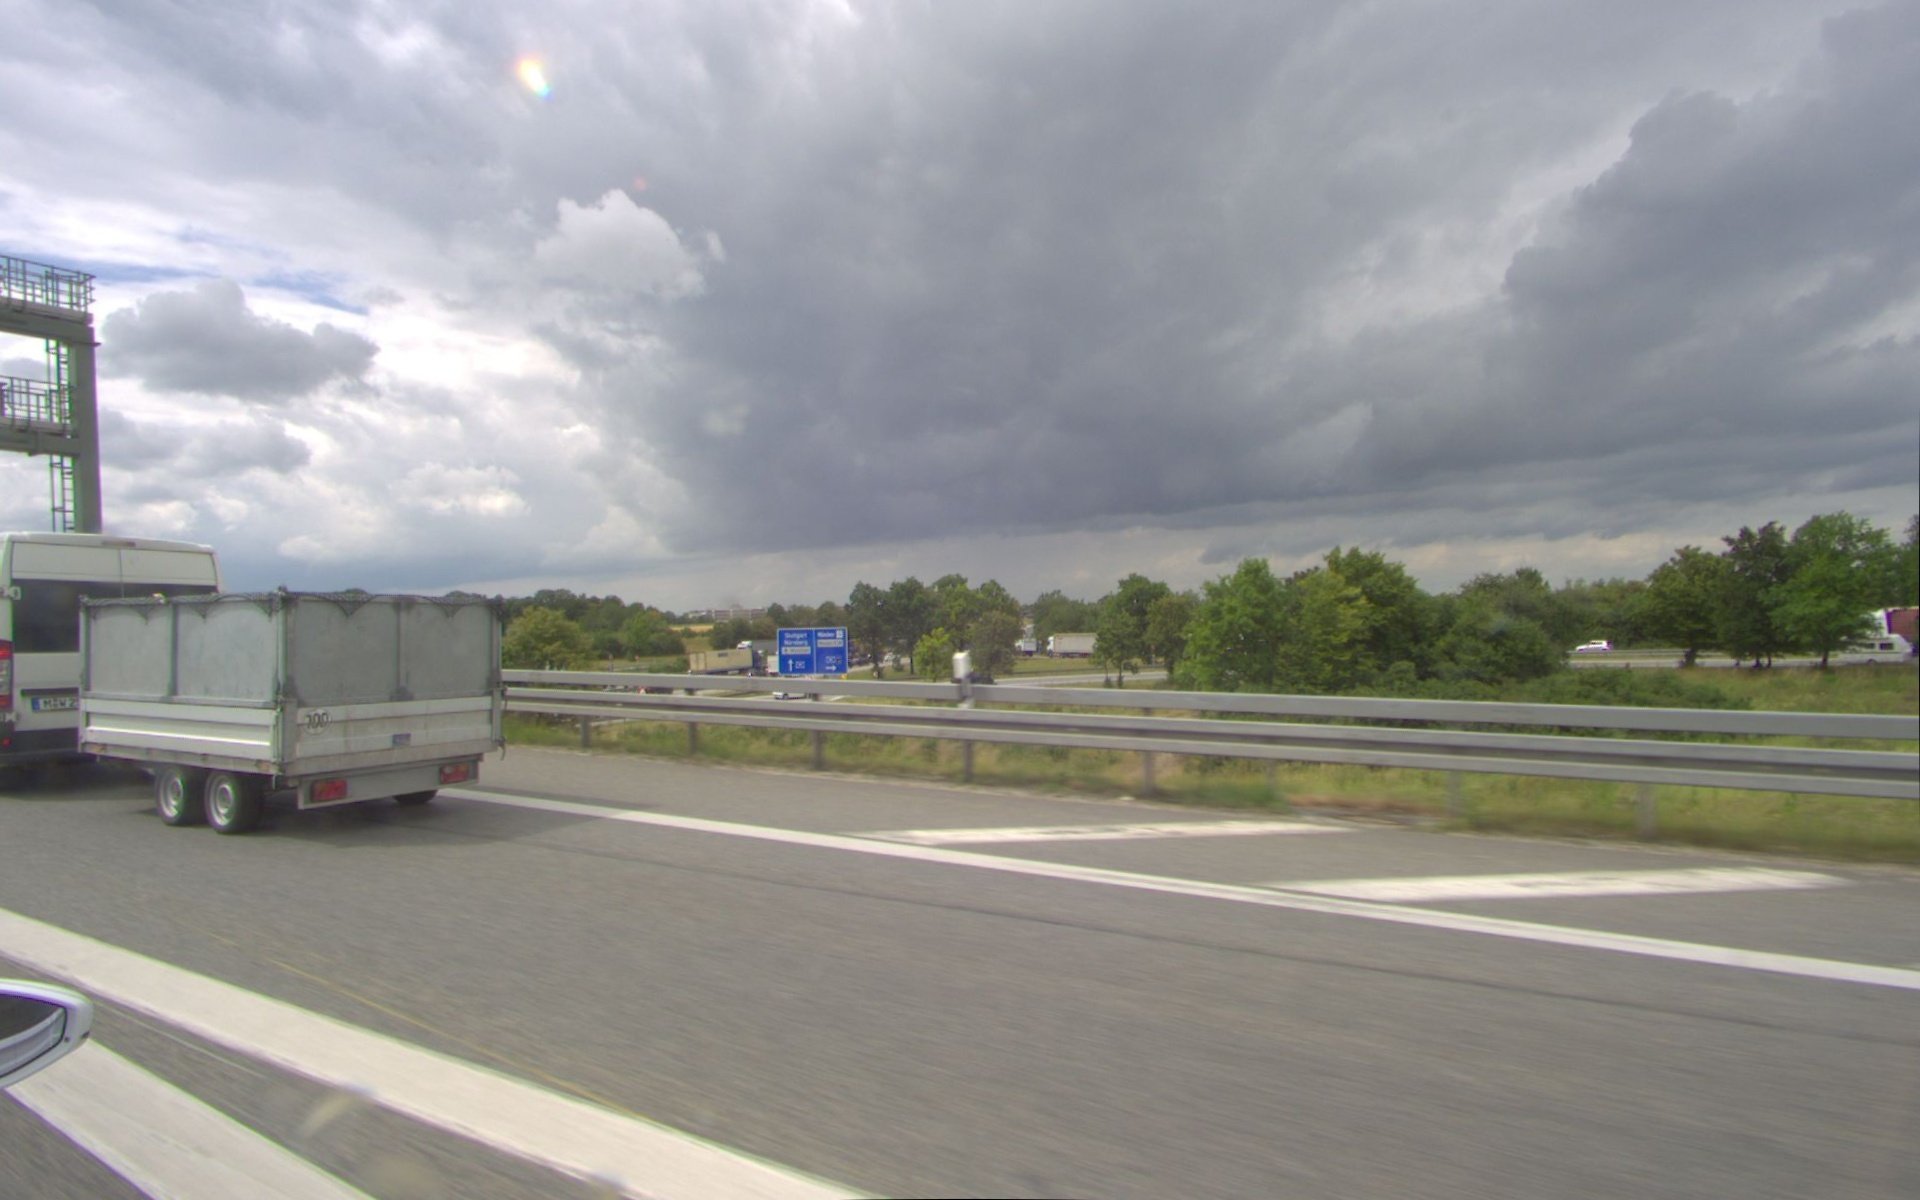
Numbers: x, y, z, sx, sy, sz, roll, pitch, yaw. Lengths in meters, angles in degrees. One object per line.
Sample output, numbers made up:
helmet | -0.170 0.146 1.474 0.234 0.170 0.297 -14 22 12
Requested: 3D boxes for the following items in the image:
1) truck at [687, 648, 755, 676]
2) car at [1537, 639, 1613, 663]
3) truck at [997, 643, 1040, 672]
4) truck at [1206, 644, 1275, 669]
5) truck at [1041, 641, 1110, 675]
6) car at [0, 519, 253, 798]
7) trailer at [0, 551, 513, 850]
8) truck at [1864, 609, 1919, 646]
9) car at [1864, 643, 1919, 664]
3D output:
truck | -35.166 9.118 148.212 3.252 3.984 13.725 0 -3 17
car | 69.162 5.651 112.694 7.011 2.602 2.743 -2 -2 42
truck | 10.961 10.801 190.243 3.883 5.104 12.980 0 -2 -18
truck | 39.551 7.963 141.536 8.934 3.410 3.312 -2 -2 44
truck | 19.182 9.607 167.986 3.804 5.281 14.794 1 -2 -28
car | -10.725 0.603 11.284 6.058 2.485 2.112 -1 -2 29
trailer | -6.232 0.755 8.748 4.560 2.039 1.854 -1 -2 28
truck | 88.273 2.550 92.229 3.154 3.308 6.901 1 -2 -32
car | 79.153 4.479 84.177 2.010 1.674 4.320 2 -3 -35
